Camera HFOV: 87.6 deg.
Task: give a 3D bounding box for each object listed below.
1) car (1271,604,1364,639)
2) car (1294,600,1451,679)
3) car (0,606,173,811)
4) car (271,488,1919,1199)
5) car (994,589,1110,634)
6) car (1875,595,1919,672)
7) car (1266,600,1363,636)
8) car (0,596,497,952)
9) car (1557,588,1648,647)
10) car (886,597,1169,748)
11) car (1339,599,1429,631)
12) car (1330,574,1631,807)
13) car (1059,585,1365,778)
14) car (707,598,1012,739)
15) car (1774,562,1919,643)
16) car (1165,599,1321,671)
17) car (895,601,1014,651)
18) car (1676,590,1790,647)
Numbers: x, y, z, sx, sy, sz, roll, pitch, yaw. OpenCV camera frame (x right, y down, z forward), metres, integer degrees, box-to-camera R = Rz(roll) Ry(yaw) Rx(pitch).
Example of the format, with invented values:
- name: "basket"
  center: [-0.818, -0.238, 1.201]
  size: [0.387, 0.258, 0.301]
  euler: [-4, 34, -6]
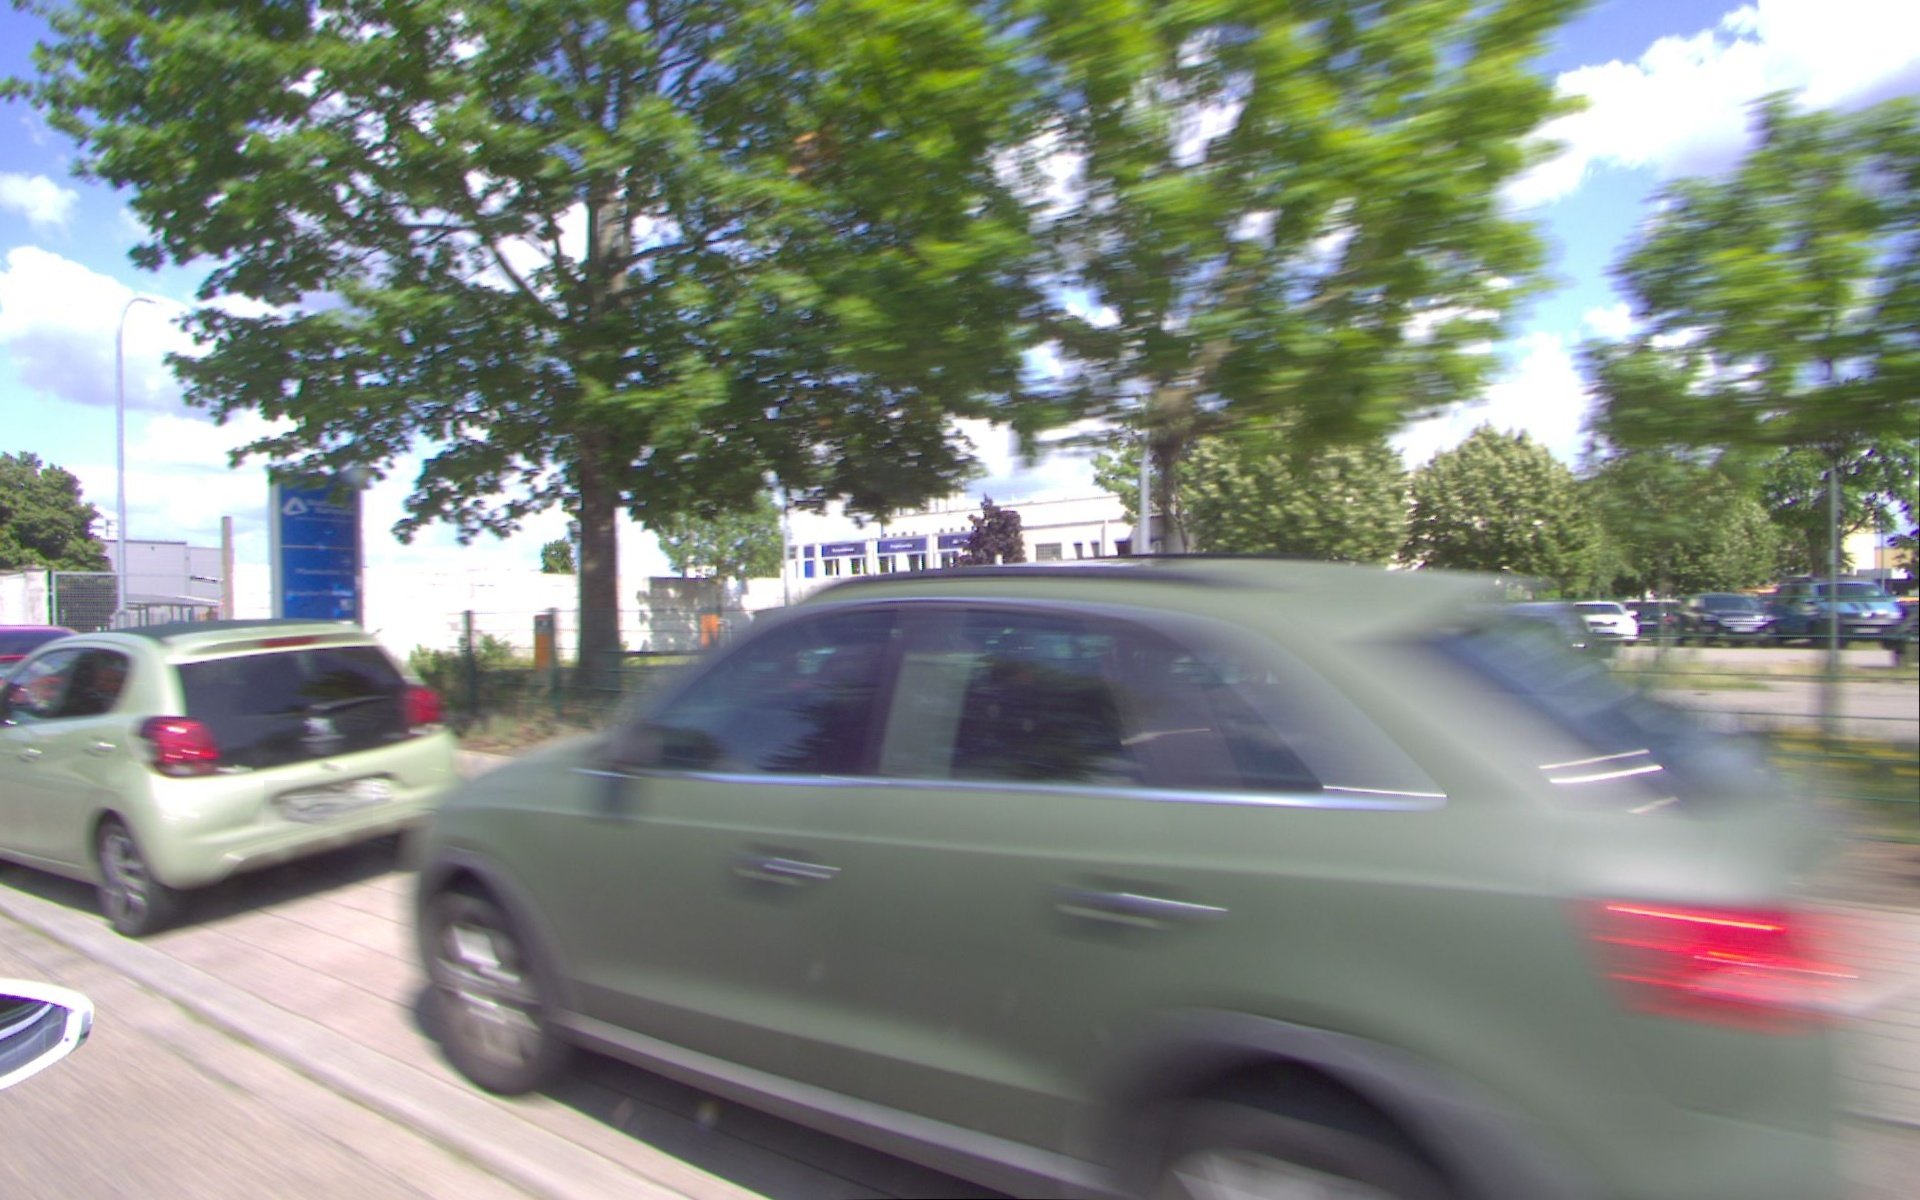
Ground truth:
- name: "car"
  center: [16.500, 1.005, 46.311]
  size: [1.759, 1.569, 3.623]
  euler: [-1, -1, -41]
- name: "car"
  center: [8.263, 0.723, 19.881]
  size: [1.822, 1.414, 3.987]
  euler: [-1, -1, 39]
- name: "car"
  center: [-8.931, 0.884, 9.028]
  size: [4.169, 1.507, 1.747]
  euler: [-1, 3, 36]
- name: "car"
  center: [-0.118, 0.669, 3.196]
  size: [4.506, 1.630, 1.826]
  euler: [-1, 3, 34]
- name: "car"
  center: [3.258, 0.437, 36.076]
  size: [3.956, 1.473, 1.646]
  euler: [-2, -1, 42]
- name: "car"
  center: [20.805, 0.667, 20.439]
  size: [1.968, 1.577, 4.267]
  euler: [-1, -1, 26]
- name: "car"
  center: [16.533, 0.877, 46.778]
  size: [1.890, 1.613, 3.853]
  euler: [2, -3, -41]
- name: "car"
  center: [-4.821, 0.819, 6.125]
  size: [3.751, 1.507, 1.696]
  euler: [-1, 3, 30]
- name: "car"
  center: [20.599, 0.622, 32.283]
  size: [1.968, 1.575, 4.272]
  euler: [-1, -5, 26]
- name: "car"
  center: [1.018, 0.797, 12.902]
  size: [1.885, 1.614, 3.862]
  euler: [-1, 0, 36]
- name: "car"
  center: [22.070, 0.791, 52.190]
  size: [1.733, 1.569, 3.968]
  euler: [-1, -1, -39]
- name: "car"
  center: [4.869, 0.640, 9.076]
  size: [1.885, 1.614, 3.862]
  euler: [-1, 0, 36]
- name: "car"
  center: [2.854, 0.710, 10.710]
  size: [1.885, 1.658, 3.862]
  euler: [-1, 0, 36]
- name: "car"
  center: [-1.214, 0.818, 13.839]
  size: [1.885, 1.614, 4.195]
  euler: [-1, 0, 36]
- name: "car"
  center: [25.826, 0.169, 29.243]
  size: [2.077, 2.130, 4.927]
  euler: [-1, -2, 26]
- name: "car"
  center: [6.210, 0.712, 21.758]
  size: [1.989, 1.414, 3.738]
  euler: [-1, -1, 39]
- name: "car"
  center: [-0.233, 0.867, 33.267]
  size: [1.722, 1.569, 3.964]
  euler: [-1, -1, -42]
- name: "car"
  center: [23.150, 0.598, 30.165]
  size: [1.969, 1.576, 3.987]
  euler: [-1, -2, 27]
